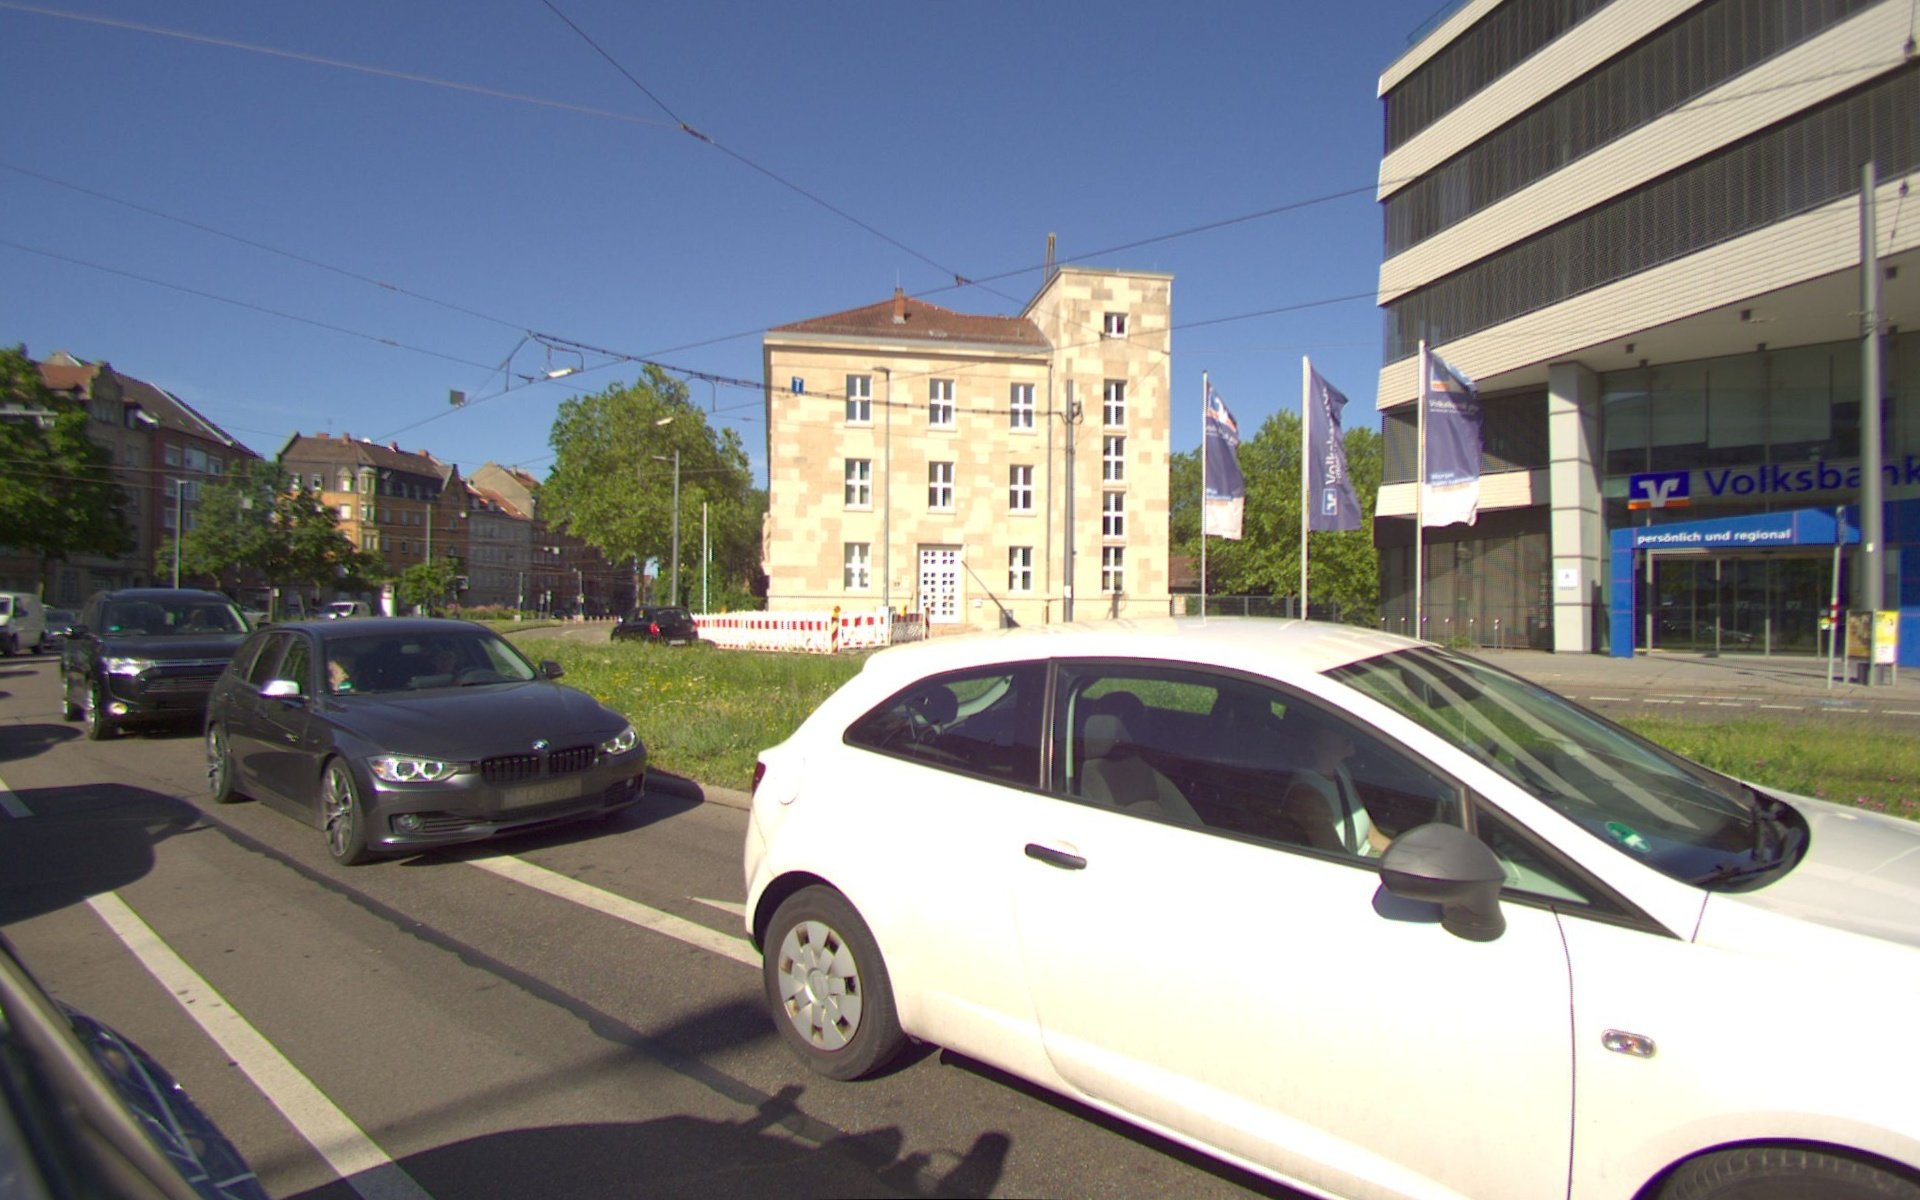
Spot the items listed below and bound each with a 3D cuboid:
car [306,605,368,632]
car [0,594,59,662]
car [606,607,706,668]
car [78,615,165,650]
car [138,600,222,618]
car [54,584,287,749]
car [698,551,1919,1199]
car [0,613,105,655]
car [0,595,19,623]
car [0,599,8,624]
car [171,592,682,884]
[{"bbox_3d":[-37.104,1.100,60.370,1.844,1.568,4.009,0,-1,-11],"label":"car"},{"bbox_3d":[-29.892,0.832,31.264,1.842,1.997,4.670,1,-1,-26],"label":"car"},{"bbox_3d":[-9.430,1.110,31.195,1.741,1.763,4.009,1,-1,-36],"label":"car"},{"bbox_3d":[-35.840,1.347,43.388,1.799,1.395,4.670,1,-1,-26],"label":"car"},{"bbox_3d":[-54.188,0.638,70.378,2.000,1.219,4.338,-1,-1,43],"label":"car"},{"bbox_3d":[-9.901,0.687,12.556,4.329,1.697,1.744,-1,0,45],"label":"car"},{"bbox_3d":[1.115,0.634,2.767,3.834,1.441,1.647,-1,2,41],"label":"car"},{"bbox_3d":[-32.905,1.192,36.796,1.842,1.458,3.921,1,-1,-26],"label":"car"},{"bbox_3d":[-51.898,0.469,52.485,4.329,1.472,2.004,1,-1,-37],"label":"car"},{"bbox_3d":[-50.212,0.543,50.047,4.329,1.243,2.004,1,-1,-37],"label":"car"},{"bbox_3d":[-4.005,0.690,7.197,4.483,1.441,1.816,-1,0,42],"label":"car"}]
